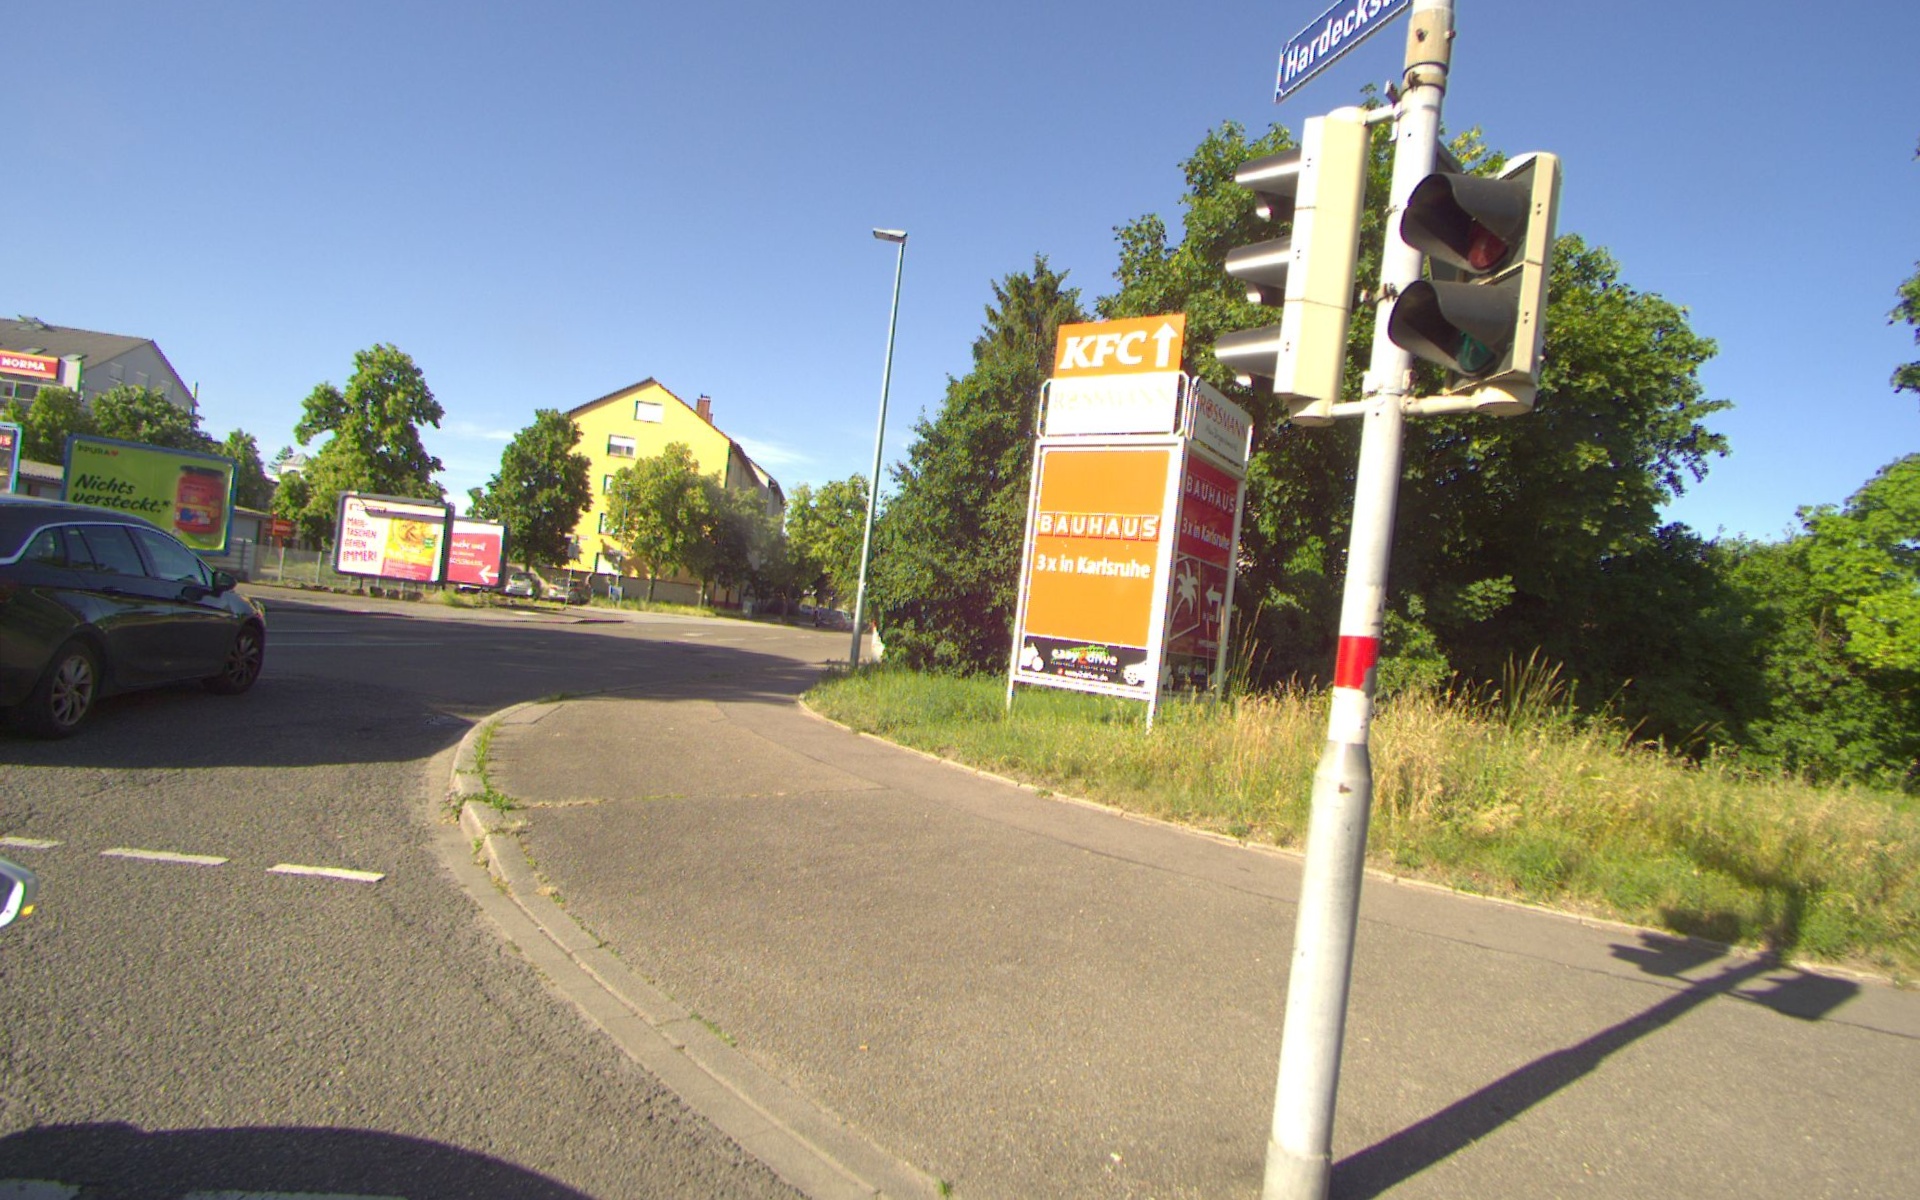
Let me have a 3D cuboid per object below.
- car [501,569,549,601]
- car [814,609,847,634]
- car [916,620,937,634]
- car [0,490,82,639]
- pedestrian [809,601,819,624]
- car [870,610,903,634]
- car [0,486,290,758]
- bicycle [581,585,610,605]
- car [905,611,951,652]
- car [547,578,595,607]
[{"bbox_3d":[-25.777,-0.908,59.729,1.675,1.642,3.872,6,0,-12],"label":"car"},{"bbox_3d":[-9.307,1.576,72.447,1.675,1.496,4.057,8,-3,1],"label":"car"},{"bbox_3d":[-4.300,3.465,128.841,1.796,1.552,4.251,6,-2,-13],"label":"car"},{"bbox_3d":[-10.715,-0.499,8.609,1.807,1.506,4.893,6,-1,4],"label":"car"},{"bbox_3d":[-11.756,0.990,80.994,0.496,1.781,0.696,6,-2,0],"label":"pedestrian"},{"bbox_3d":[-5.844,1.763,80.096,1.981,1.587,4.394,7,-1,2],"label":"car"},{"bbox_3d":[-6.623,0.020,7.136,1.741,1.508,4.278,8,-2,-16],"label":"car"},{"bbox_3d":[-22.860,-0.322,63.126,1.604,1.022,0.404,8,-3,-28],"label":"bicycle"},{"bbox_3d":[-1.706,1.756,55.418,1.808,1.930,4.701,7,-1,4],"label":"car"},{"bbox_3d":[-22.761,-0.422,58.933,1.705,1.482,3.875,6,-1,-9],"label":"car"}]
